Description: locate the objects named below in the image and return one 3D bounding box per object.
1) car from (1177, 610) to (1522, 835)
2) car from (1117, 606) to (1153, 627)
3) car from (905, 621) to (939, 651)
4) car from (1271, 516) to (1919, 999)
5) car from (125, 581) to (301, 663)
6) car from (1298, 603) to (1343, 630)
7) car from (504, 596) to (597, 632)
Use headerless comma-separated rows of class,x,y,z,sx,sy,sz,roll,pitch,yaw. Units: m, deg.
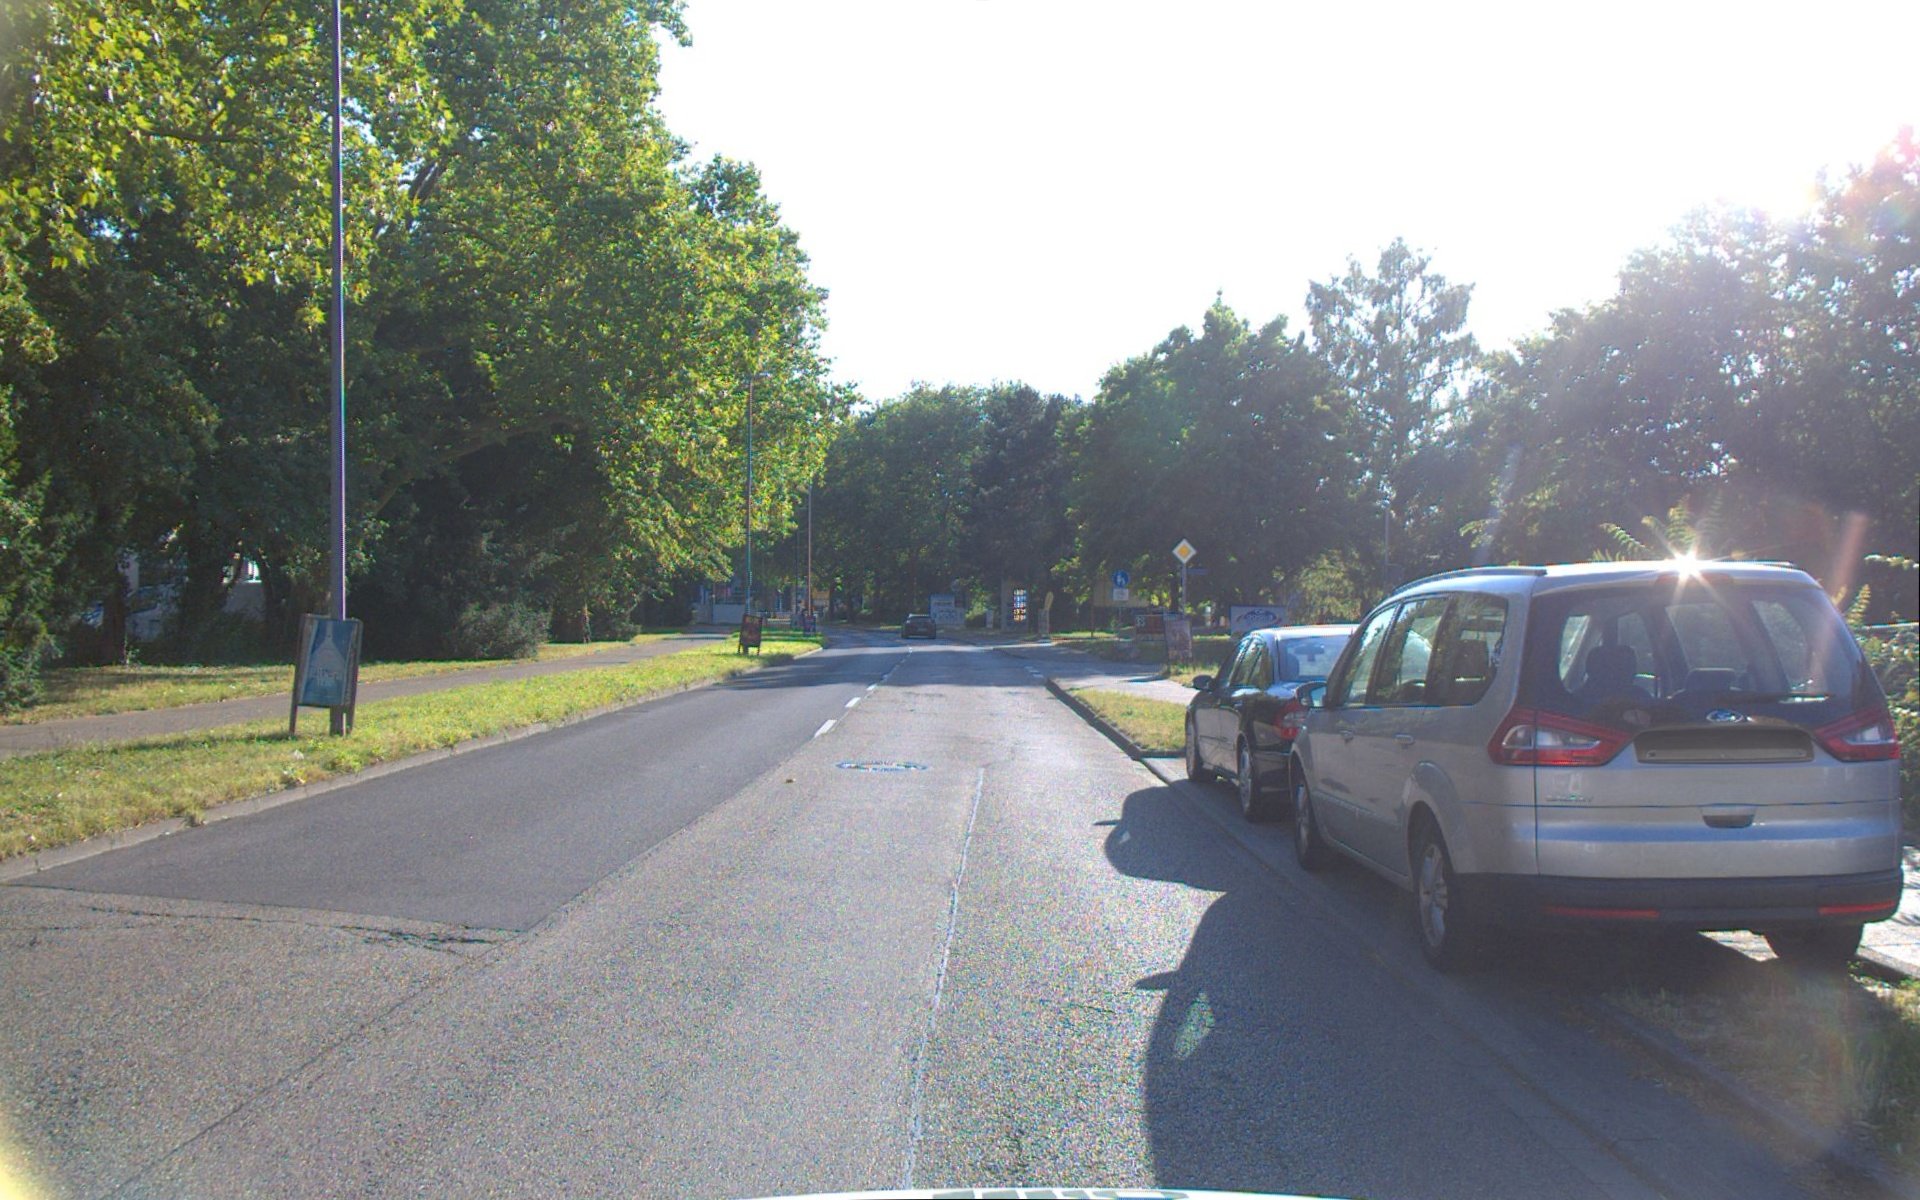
car,3.022,0.870,13.865,1.746,1.542,4.688,-1,-1,0
car,12.013,1.118,113.763,1.805,1.445,3.996,0,0,-4
car,-2.158,2.053,94.648,1.801,1.633,3.862,0,0,0
car,3.089,0.604,8.658,1.953,1.790,4.916,-1,-1,0
car,-20.058,0.577,44.548,3.913,2.080,1.905,1,1,-9
car,25.168,1.127,115.533,1.778,1.758,4.392,0,1,-7
car,-18.959,0.660,76.751,3.911,1.534,1.909,2,-1,-8
